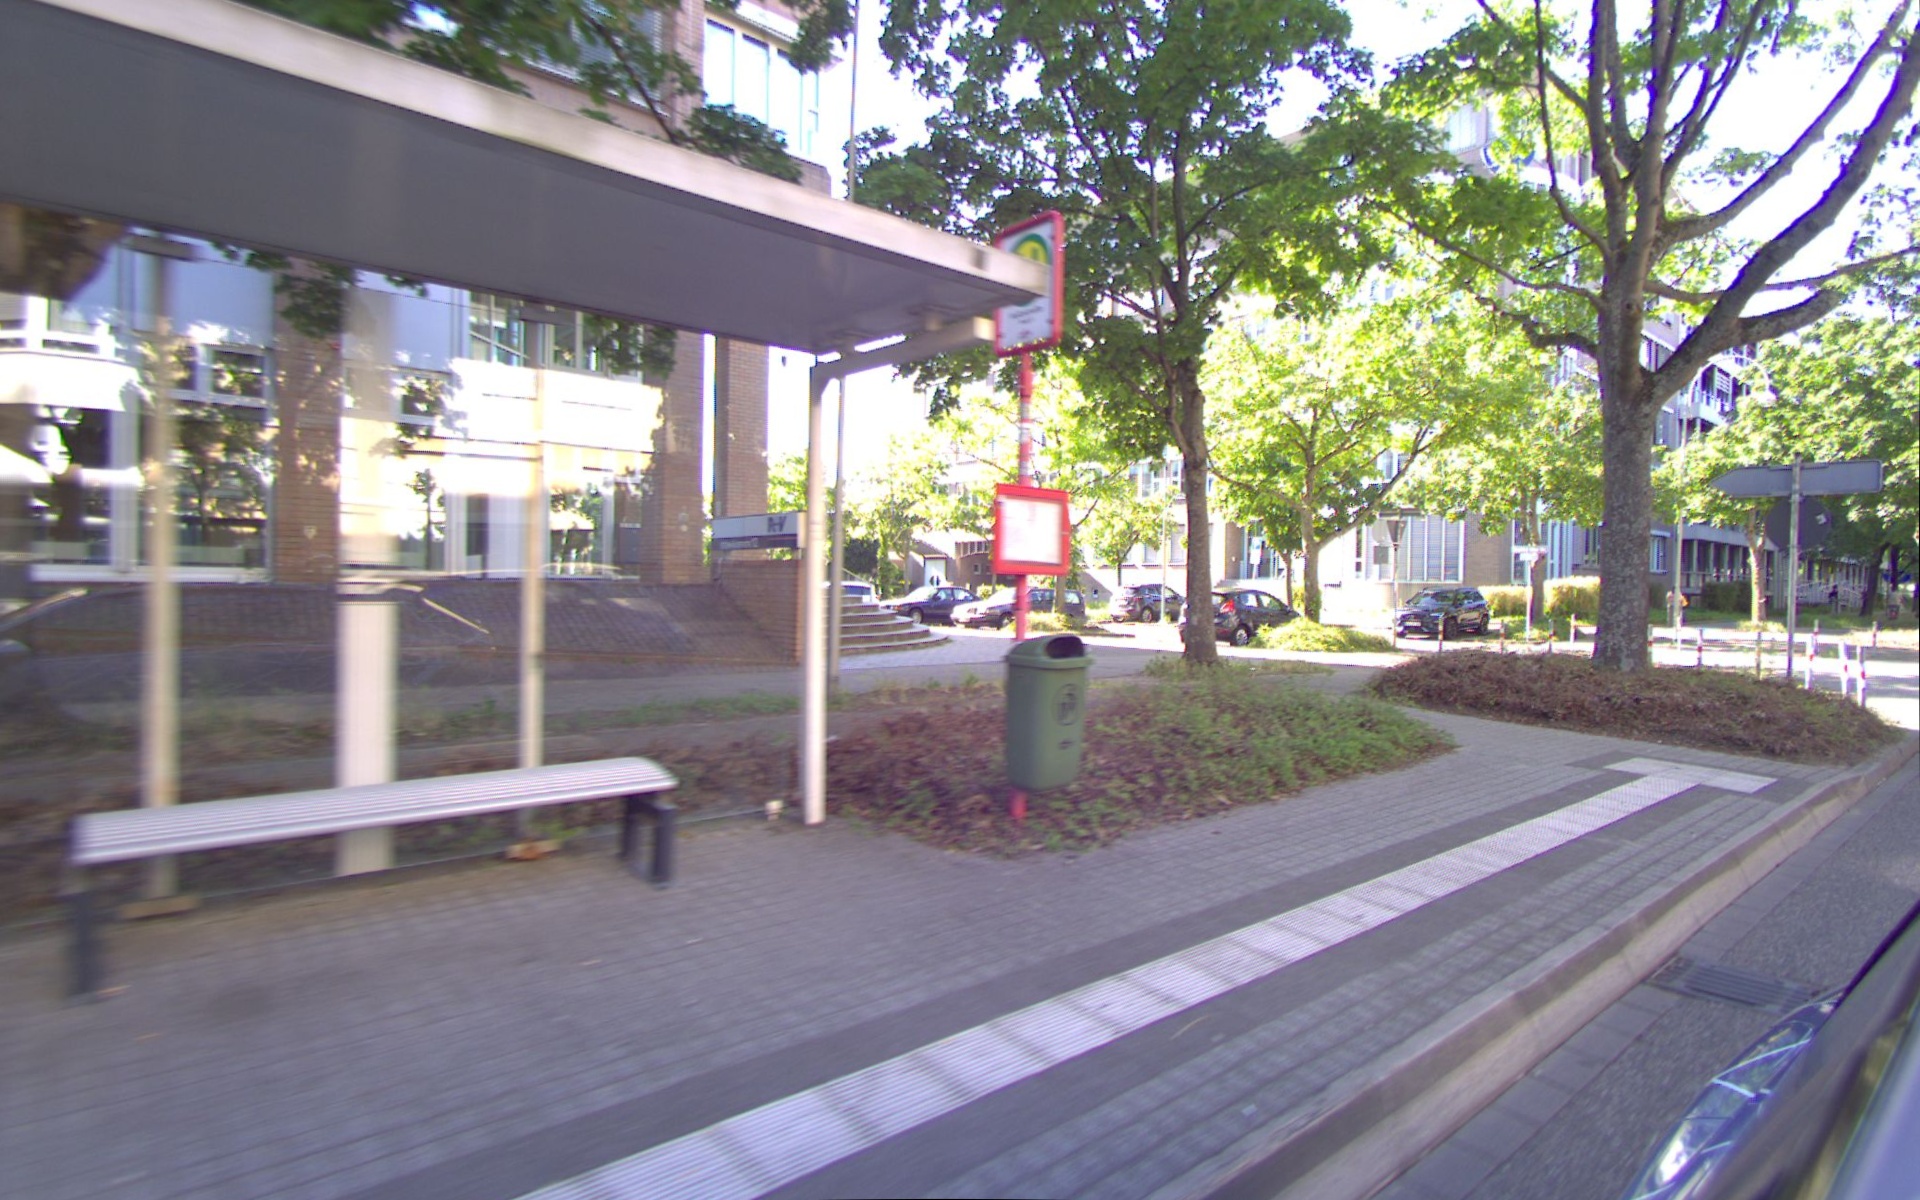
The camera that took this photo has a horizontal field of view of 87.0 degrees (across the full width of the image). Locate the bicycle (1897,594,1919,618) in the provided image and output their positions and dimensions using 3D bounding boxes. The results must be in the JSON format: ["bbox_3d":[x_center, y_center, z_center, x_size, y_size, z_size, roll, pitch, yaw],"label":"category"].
[{"bbox_3d":[44.006,0.271,46.954,1.885,1.091,0.535,0,1,-40],"label":"bicycle"}]

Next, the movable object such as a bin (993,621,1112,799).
[{"bbox_3d":[0.436,0.495,4.766,0.459,0.763,0.299,0,3,-41],"label":"movable object such as a bin"}]

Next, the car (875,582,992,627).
[{"bbox_3d":[-0.854,0.176,34.540,3.933,1.386,1.623,3,-2,-44],"label":"car"}]

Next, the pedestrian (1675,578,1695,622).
[{"bbox_3d":[26.865,-0.017,37.492,0.537,1.602,0.639,1,0,40],"label":"pedestrian"}]

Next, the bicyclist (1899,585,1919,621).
[{"bbox_3d":[44.129,0.153,47.058,0.808,1.657,0.538,0,1,-40],"label":"bicyclist"}]

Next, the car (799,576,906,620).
[{"bbox_3d":[-4.224,-0.072,40.093,3.929,1.584,1.625,3,-1,-41],"label":"car"}]

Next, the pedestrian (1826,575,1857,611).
[{"bbox_3d":[44.863,-0.345,51.497,1.001,1.821,1.036,0,0,-41],"label":"pedestrian"}]

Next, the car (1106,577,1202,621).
[{"bbox_3d":[8.214,-0.082,42.740,3.925,1.604,1.705,-4,3,-35],"label":"car"}]

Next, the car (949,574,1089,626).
[{"bbox_3d":[1.856,-0.019,31.024,4.193,1.479,1.694,0,1,-38],"label":"car"}]

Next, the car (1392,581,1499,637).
[{"bbox_3d":[15.930,0.240,33.098,4.294,1.585,1.739,-3,2,-43],"label":"car"}]

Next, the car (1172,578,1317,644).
[{"bbox_3d":[7.045,0.260,24.887,3.851,1.481,1.654,1,1,-43],"label":"car"}]
